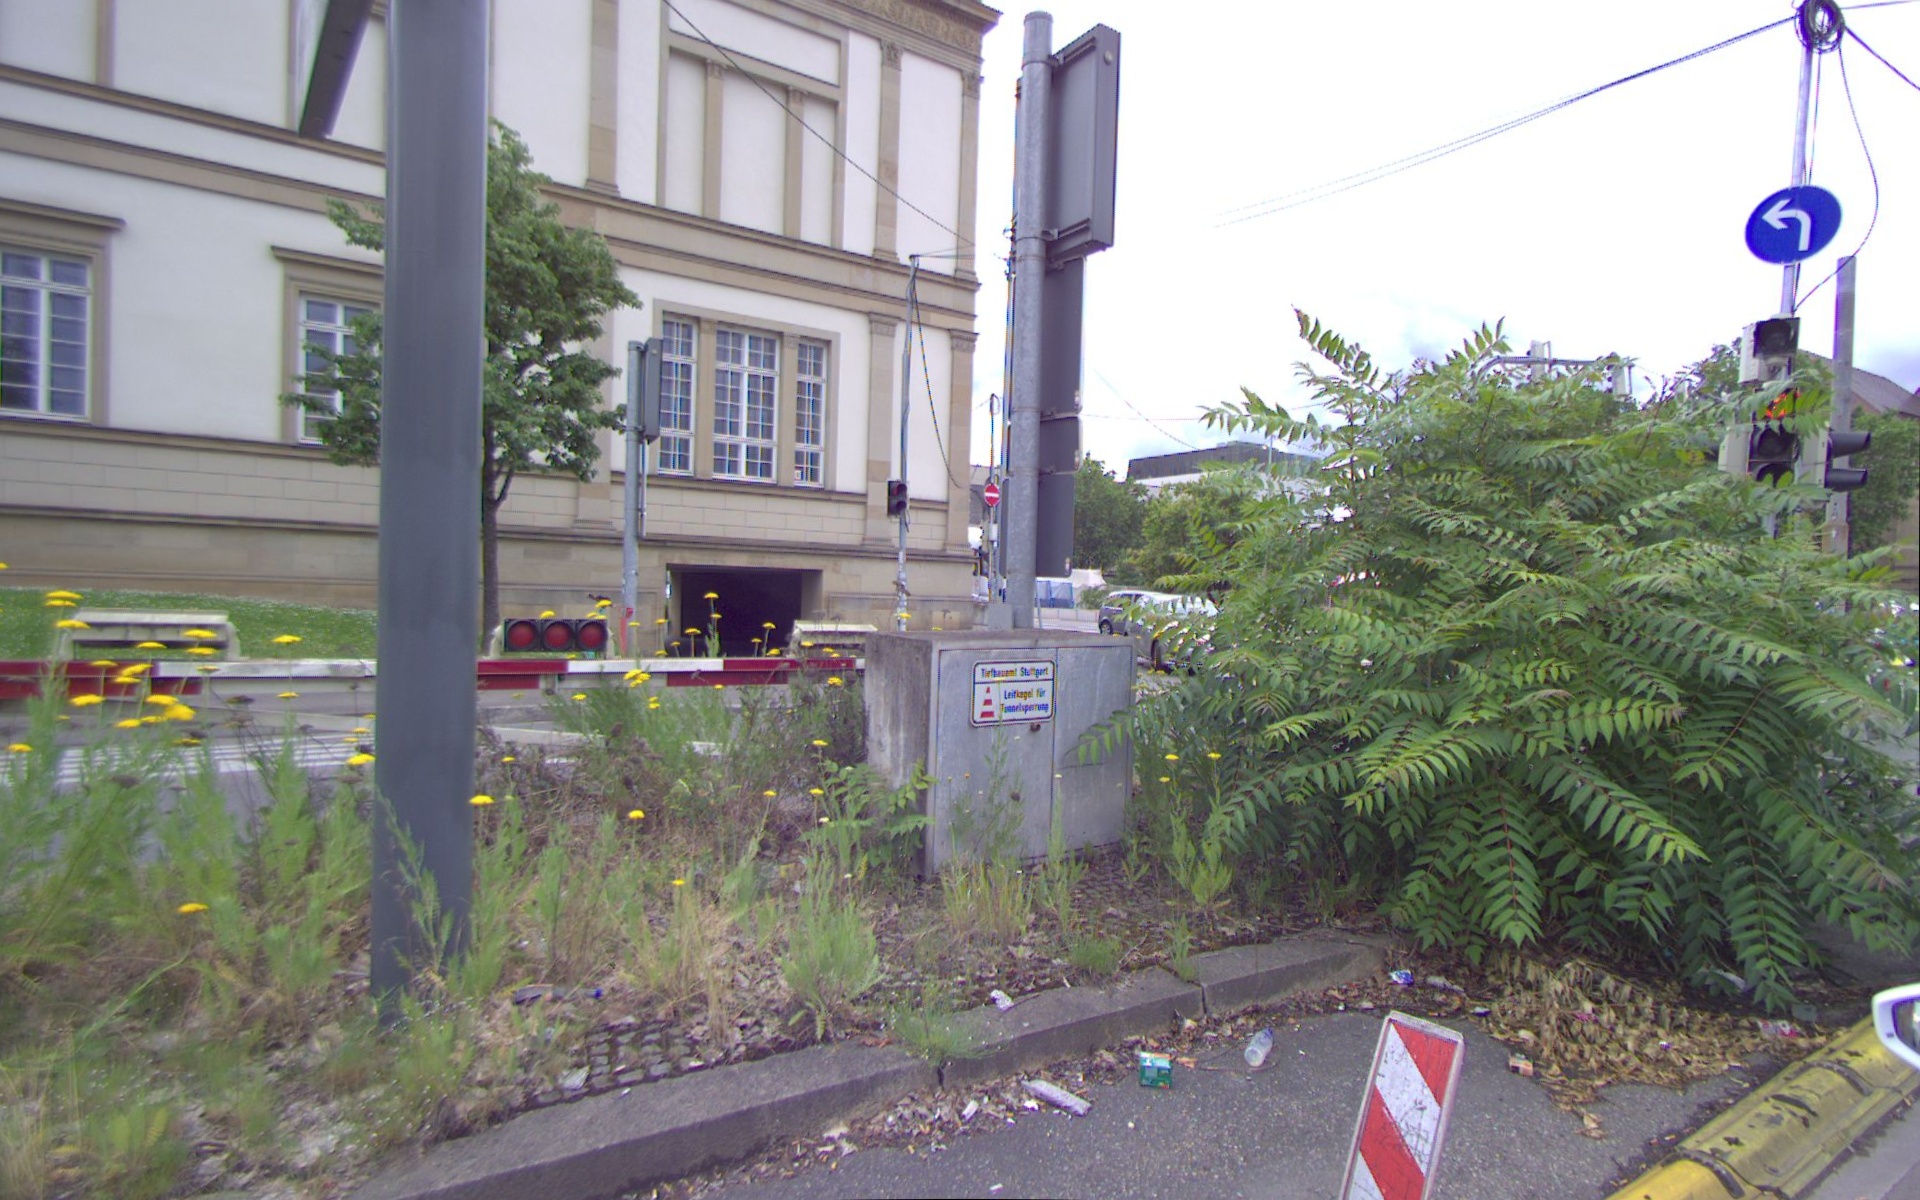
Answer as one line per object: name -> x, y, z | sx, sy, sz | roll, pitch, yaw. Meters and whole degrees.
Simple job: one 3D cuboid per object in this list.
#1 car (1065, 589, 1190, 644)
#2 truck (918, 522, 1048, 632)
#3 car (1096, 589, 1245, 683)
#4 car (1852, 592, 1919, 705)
car -> 5.395, 0.503, 32.812 | 1.810, 1.646, 4.032 | 2, 0, -31
truck -> 0.841, -0.876, 40.526 | 2.915, 4.118, 4.846 | 2, 0, -34
car -> 4.285, 0.674, 21.099 | 1.804, 1.769, 3.994 | 1, 0, -8
car -> 17.840, 0.879, 16.855 | 4.221, 1.907, 1.819 | 2, 0, 44
